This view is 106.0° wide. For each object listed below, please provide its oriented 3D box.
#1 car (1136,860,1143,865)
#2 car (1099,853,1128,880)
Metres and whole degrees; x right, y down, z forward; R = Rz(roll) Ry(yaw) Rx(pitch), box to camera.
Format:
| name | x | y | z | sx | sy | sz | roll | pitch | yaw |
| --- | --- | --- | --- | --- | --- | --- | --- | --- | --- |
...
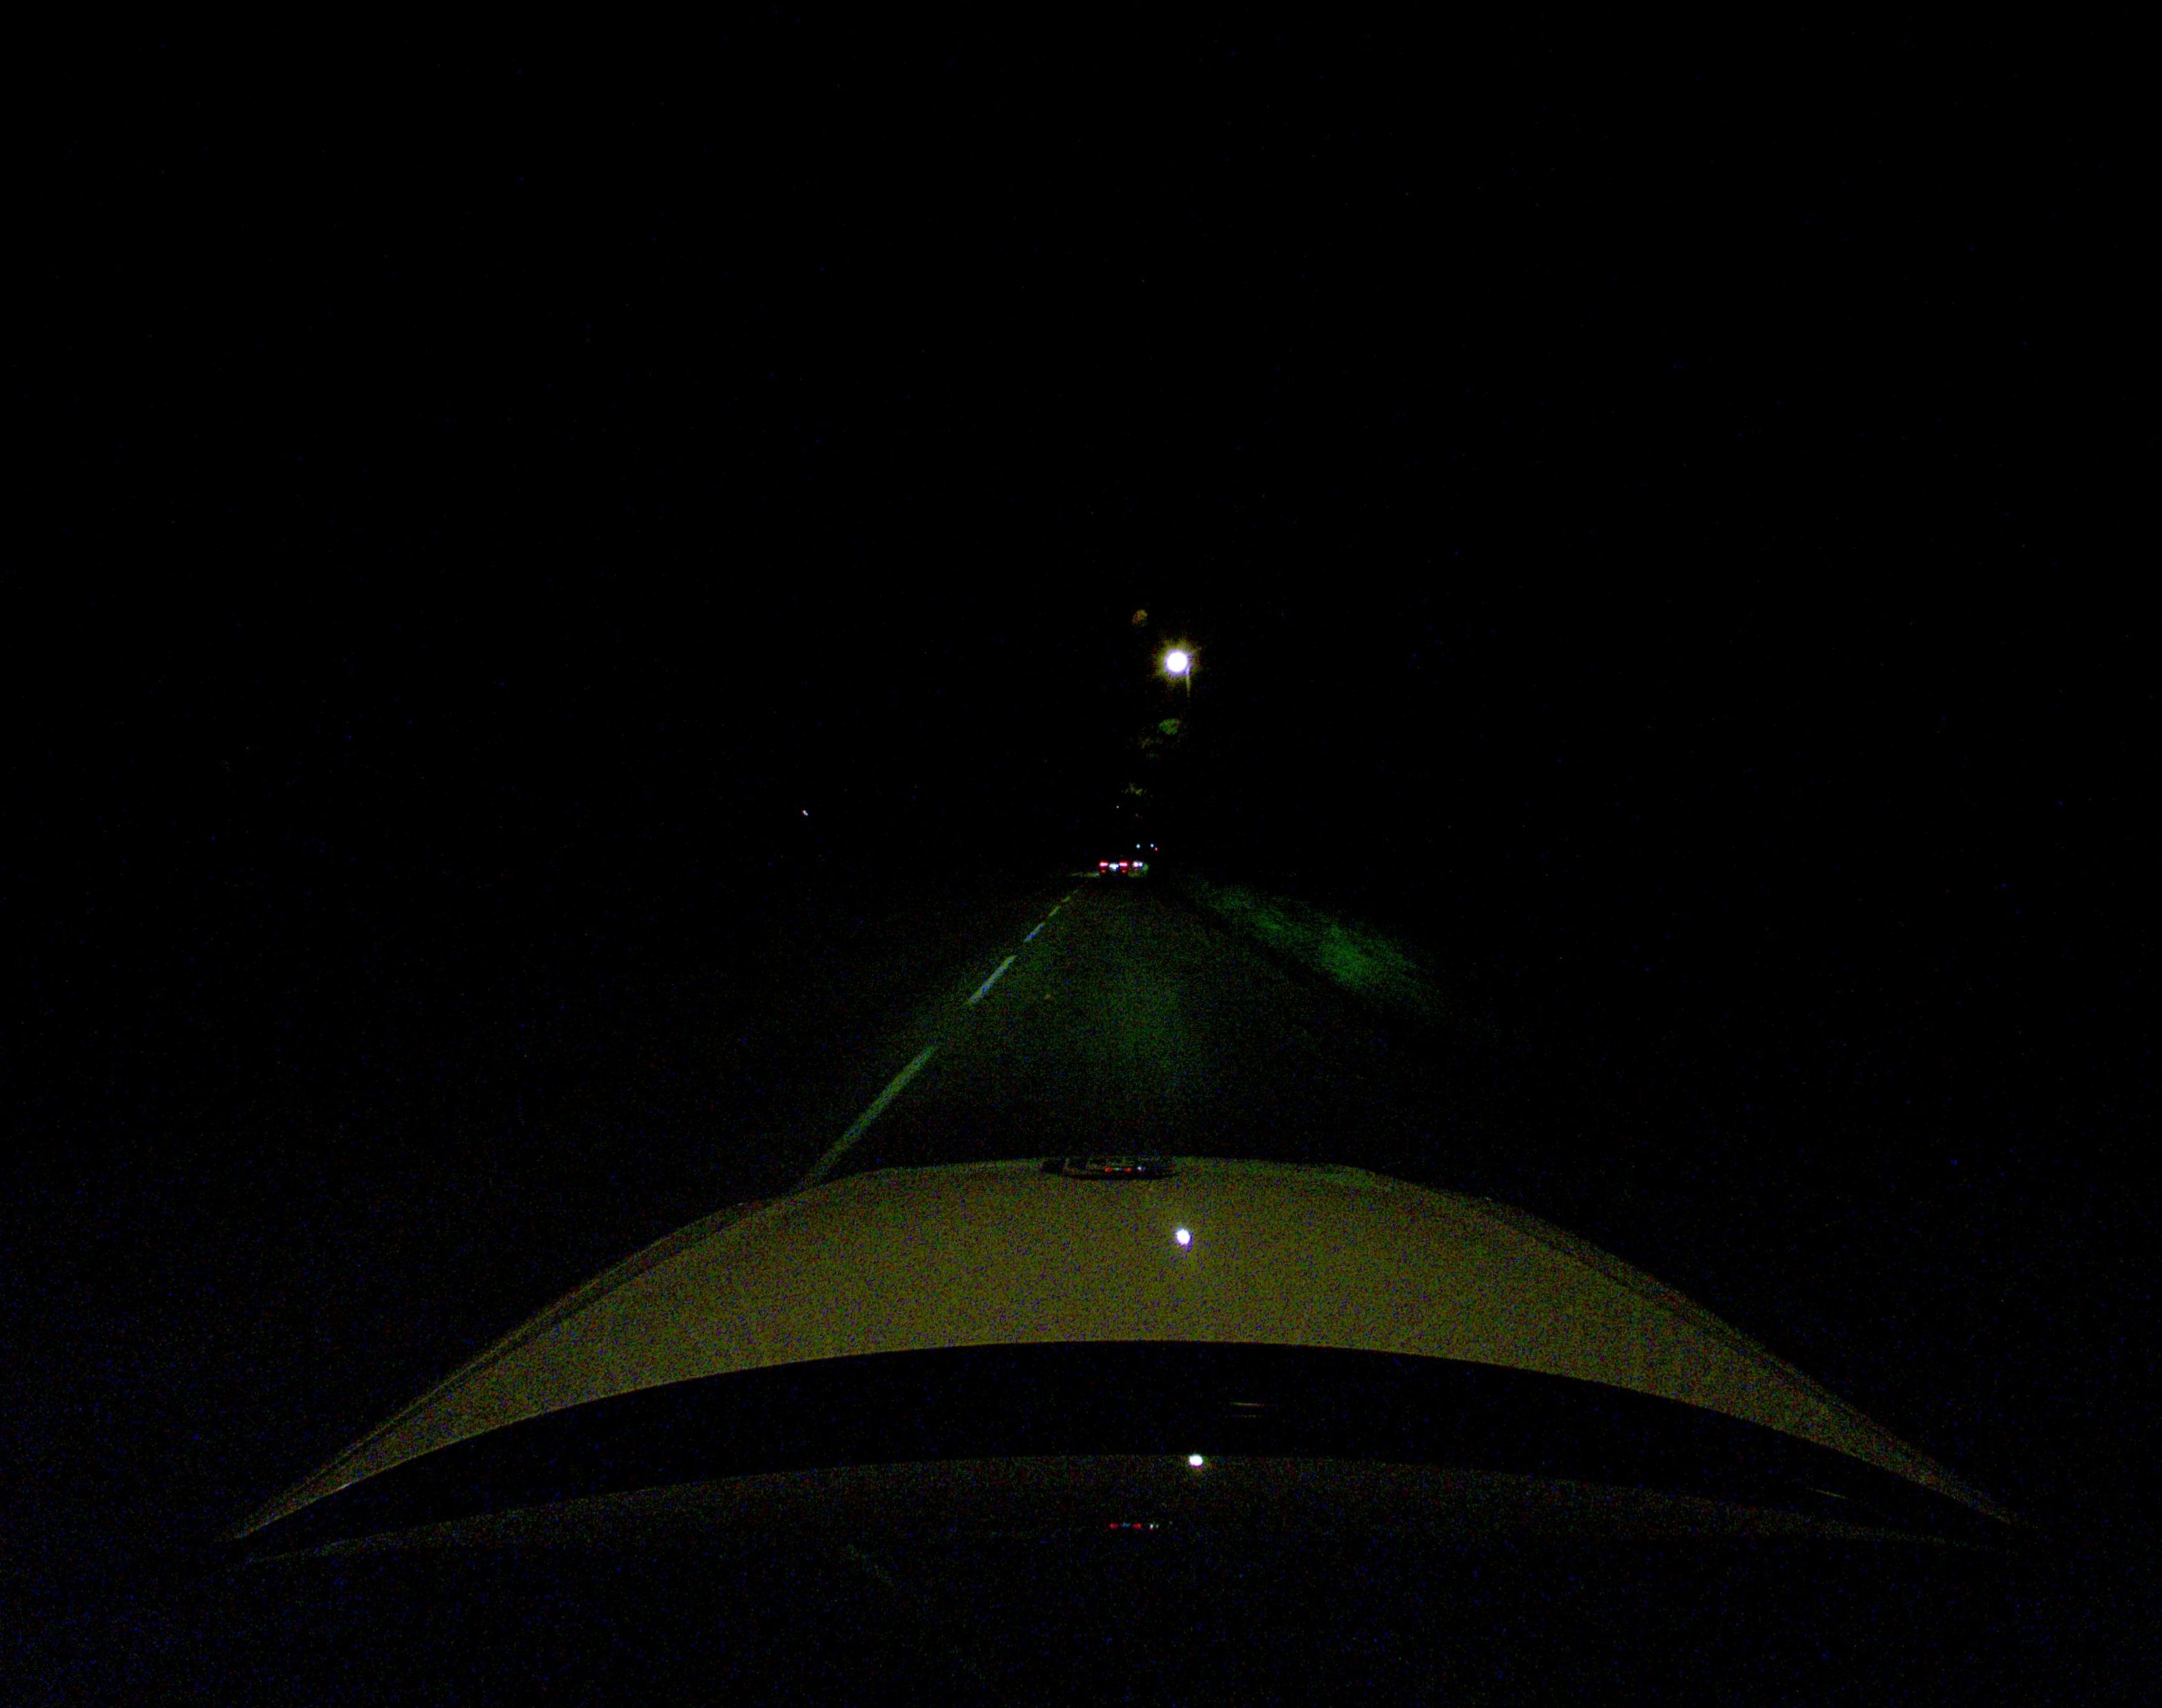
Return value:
| name | x | y | z | sx | sy | sz | roll | pitch | yaw |
| --- | --- | --- | --- | --- | --- | --- | --- | --- | --- |
| car | 15.783 | 2.249 | 219.936 | 1.680 | 1.457 | 4.004 | 0 | -1 | 4 |
| car | 2.092 | 0.779 | 52.415 | 1.756 | 1.641 | 3.725 | 0 | 0 | 2 |
